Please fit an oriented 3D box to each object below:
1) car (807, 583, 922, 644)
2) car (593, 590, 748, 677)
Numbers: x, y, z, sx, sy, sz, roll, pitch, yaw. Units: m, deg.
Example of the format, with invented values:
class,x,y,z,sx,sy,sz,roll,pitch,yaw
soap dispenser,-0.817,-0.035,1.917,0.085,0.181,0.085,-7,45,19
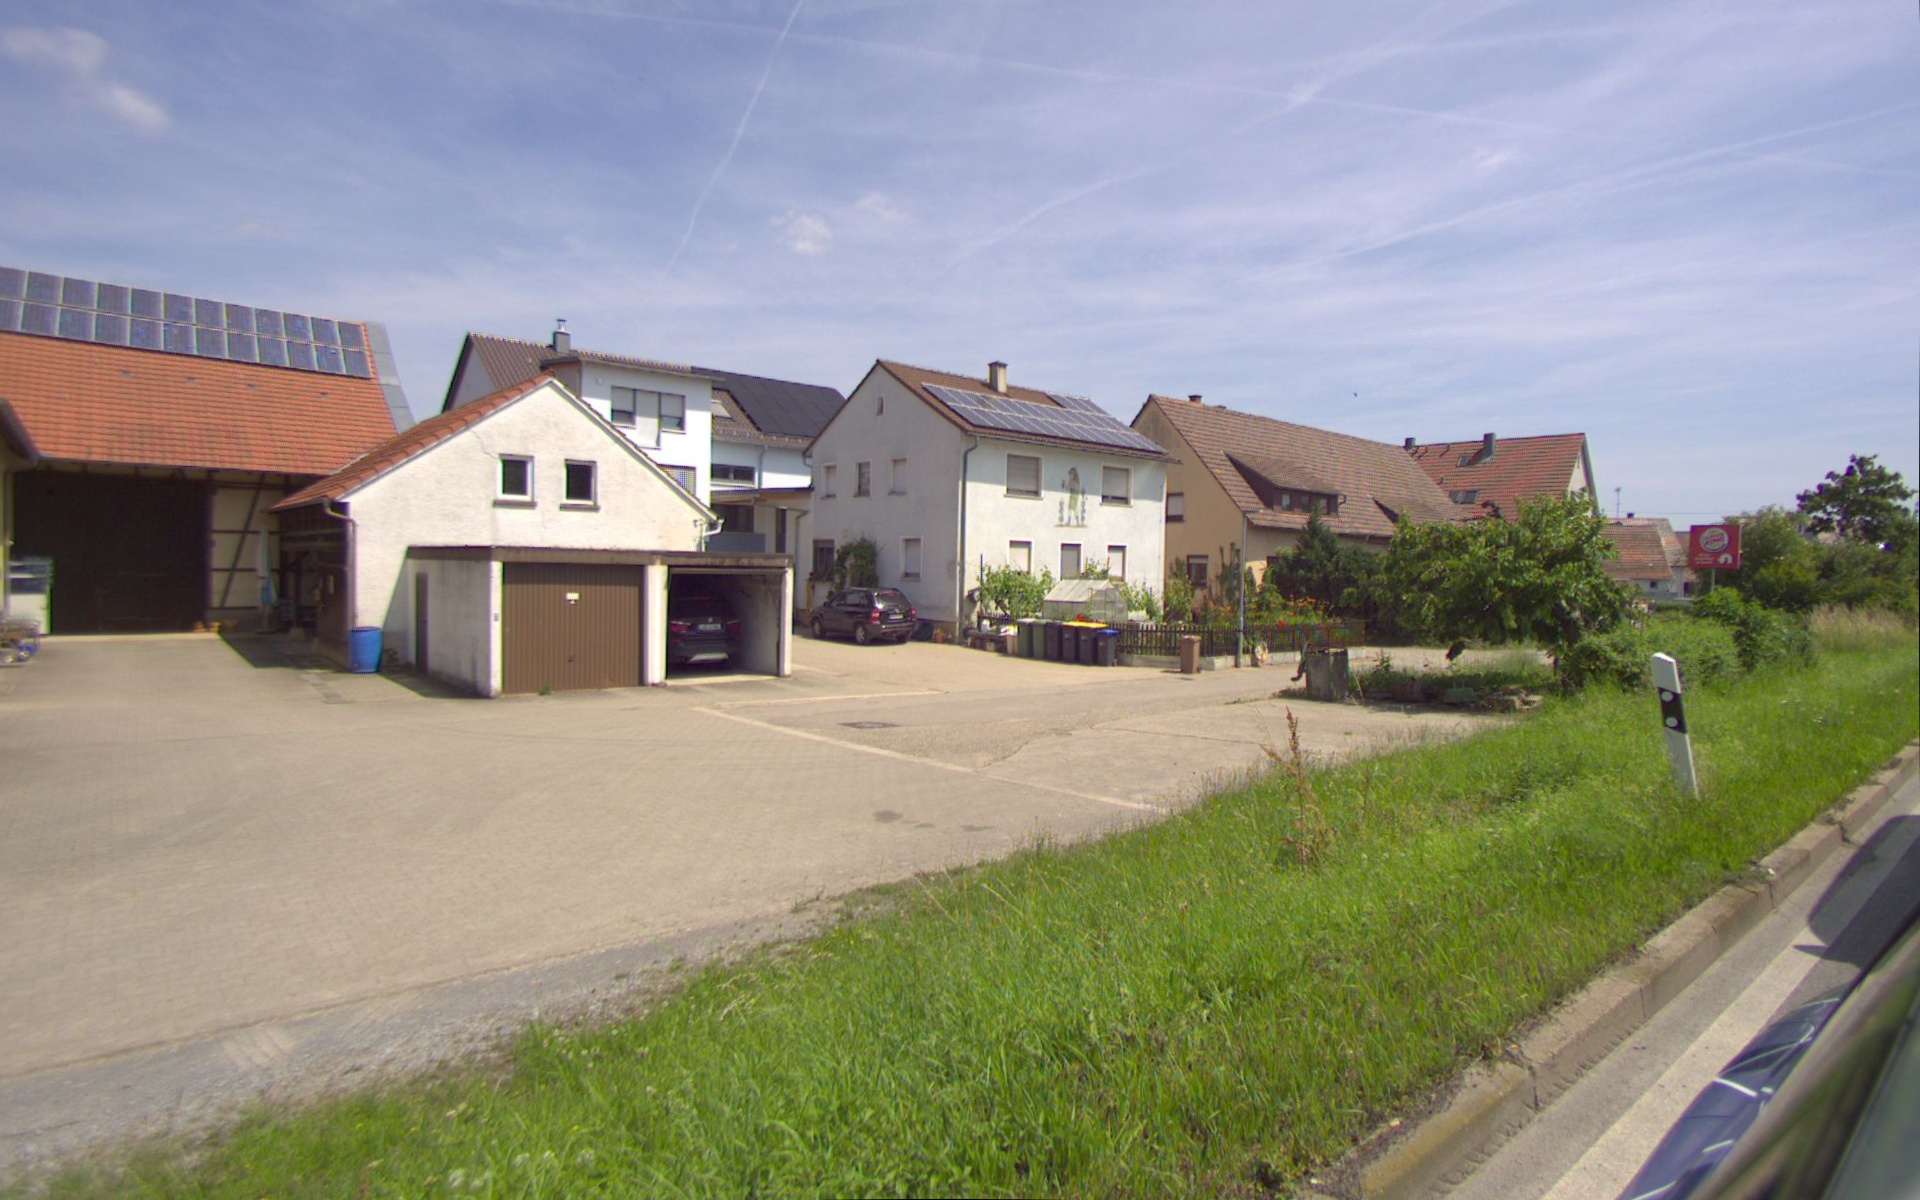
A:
class,x,y,z,sx,sy,sz,roll,pitch,yaw
car,-3.098,0.364,32.264,1.810,1.714,3.959,-1,3,-38
car,-6.357,0.637,21.947,1.802,1.597,3.996,-1,2,-40
